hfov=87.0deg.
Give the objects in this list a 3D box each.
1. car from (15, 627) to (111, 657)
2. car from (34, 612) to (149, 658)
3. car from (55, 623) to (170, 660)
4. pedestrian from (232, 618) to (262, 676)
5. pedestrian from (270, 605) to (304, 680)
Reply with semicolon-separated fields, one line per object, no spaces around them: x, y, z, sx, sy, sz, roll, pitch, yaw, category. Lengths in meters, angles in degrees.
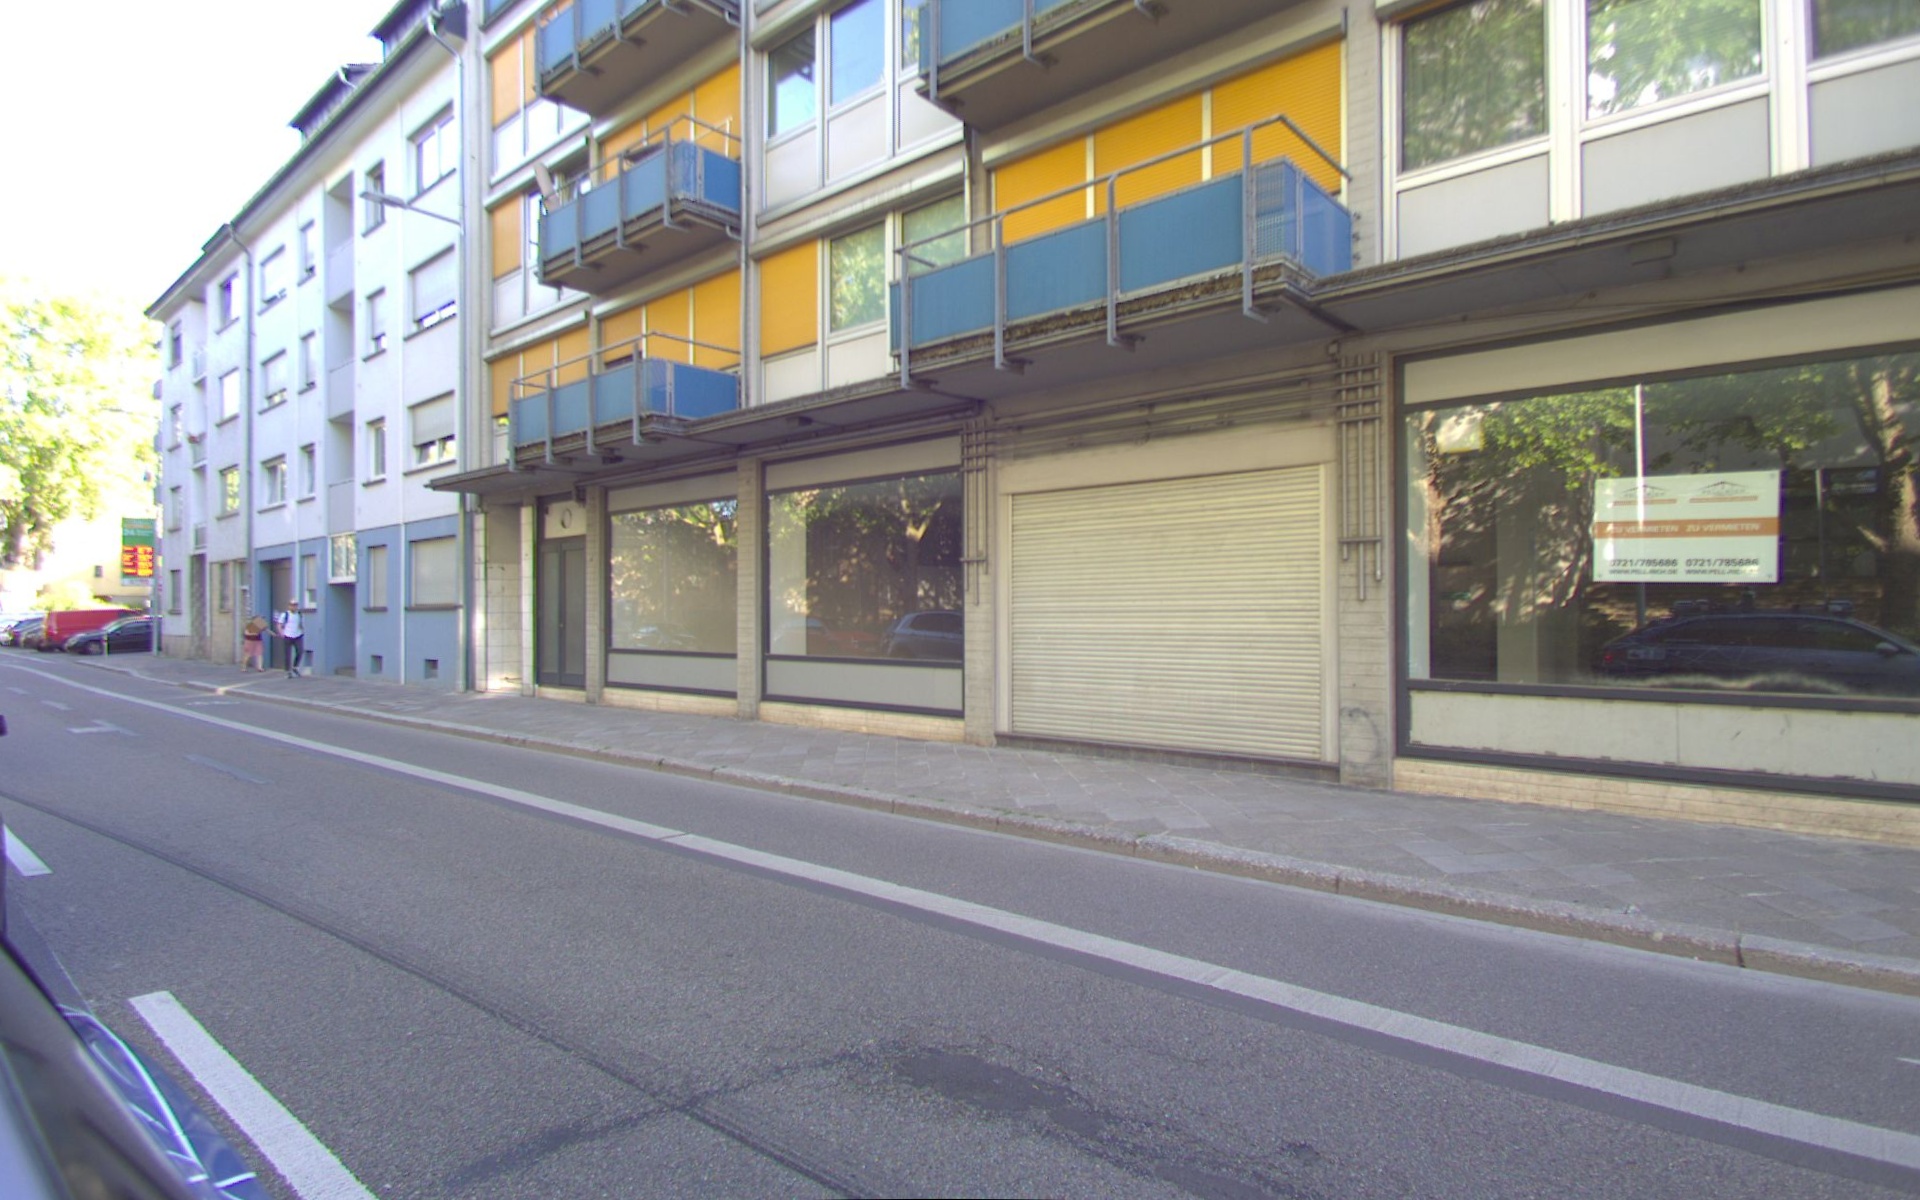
-43.024;2.001;48.570;1.294;1.258;3.283;-1;0;41;car
-40.594;1.583;47.373;1.635;1.937;3.878;-1;0;41;car
-36.677;1.770;43.849;1.635;1.422;3.623;-1;0;41;car
-19.129;1.247;27.153;0.343;1.529;0.562;-2;0;41;pedestrian
-15.932;1.006;23.972;0.343;1.739;0.562;-2;0;41;pedestrian
